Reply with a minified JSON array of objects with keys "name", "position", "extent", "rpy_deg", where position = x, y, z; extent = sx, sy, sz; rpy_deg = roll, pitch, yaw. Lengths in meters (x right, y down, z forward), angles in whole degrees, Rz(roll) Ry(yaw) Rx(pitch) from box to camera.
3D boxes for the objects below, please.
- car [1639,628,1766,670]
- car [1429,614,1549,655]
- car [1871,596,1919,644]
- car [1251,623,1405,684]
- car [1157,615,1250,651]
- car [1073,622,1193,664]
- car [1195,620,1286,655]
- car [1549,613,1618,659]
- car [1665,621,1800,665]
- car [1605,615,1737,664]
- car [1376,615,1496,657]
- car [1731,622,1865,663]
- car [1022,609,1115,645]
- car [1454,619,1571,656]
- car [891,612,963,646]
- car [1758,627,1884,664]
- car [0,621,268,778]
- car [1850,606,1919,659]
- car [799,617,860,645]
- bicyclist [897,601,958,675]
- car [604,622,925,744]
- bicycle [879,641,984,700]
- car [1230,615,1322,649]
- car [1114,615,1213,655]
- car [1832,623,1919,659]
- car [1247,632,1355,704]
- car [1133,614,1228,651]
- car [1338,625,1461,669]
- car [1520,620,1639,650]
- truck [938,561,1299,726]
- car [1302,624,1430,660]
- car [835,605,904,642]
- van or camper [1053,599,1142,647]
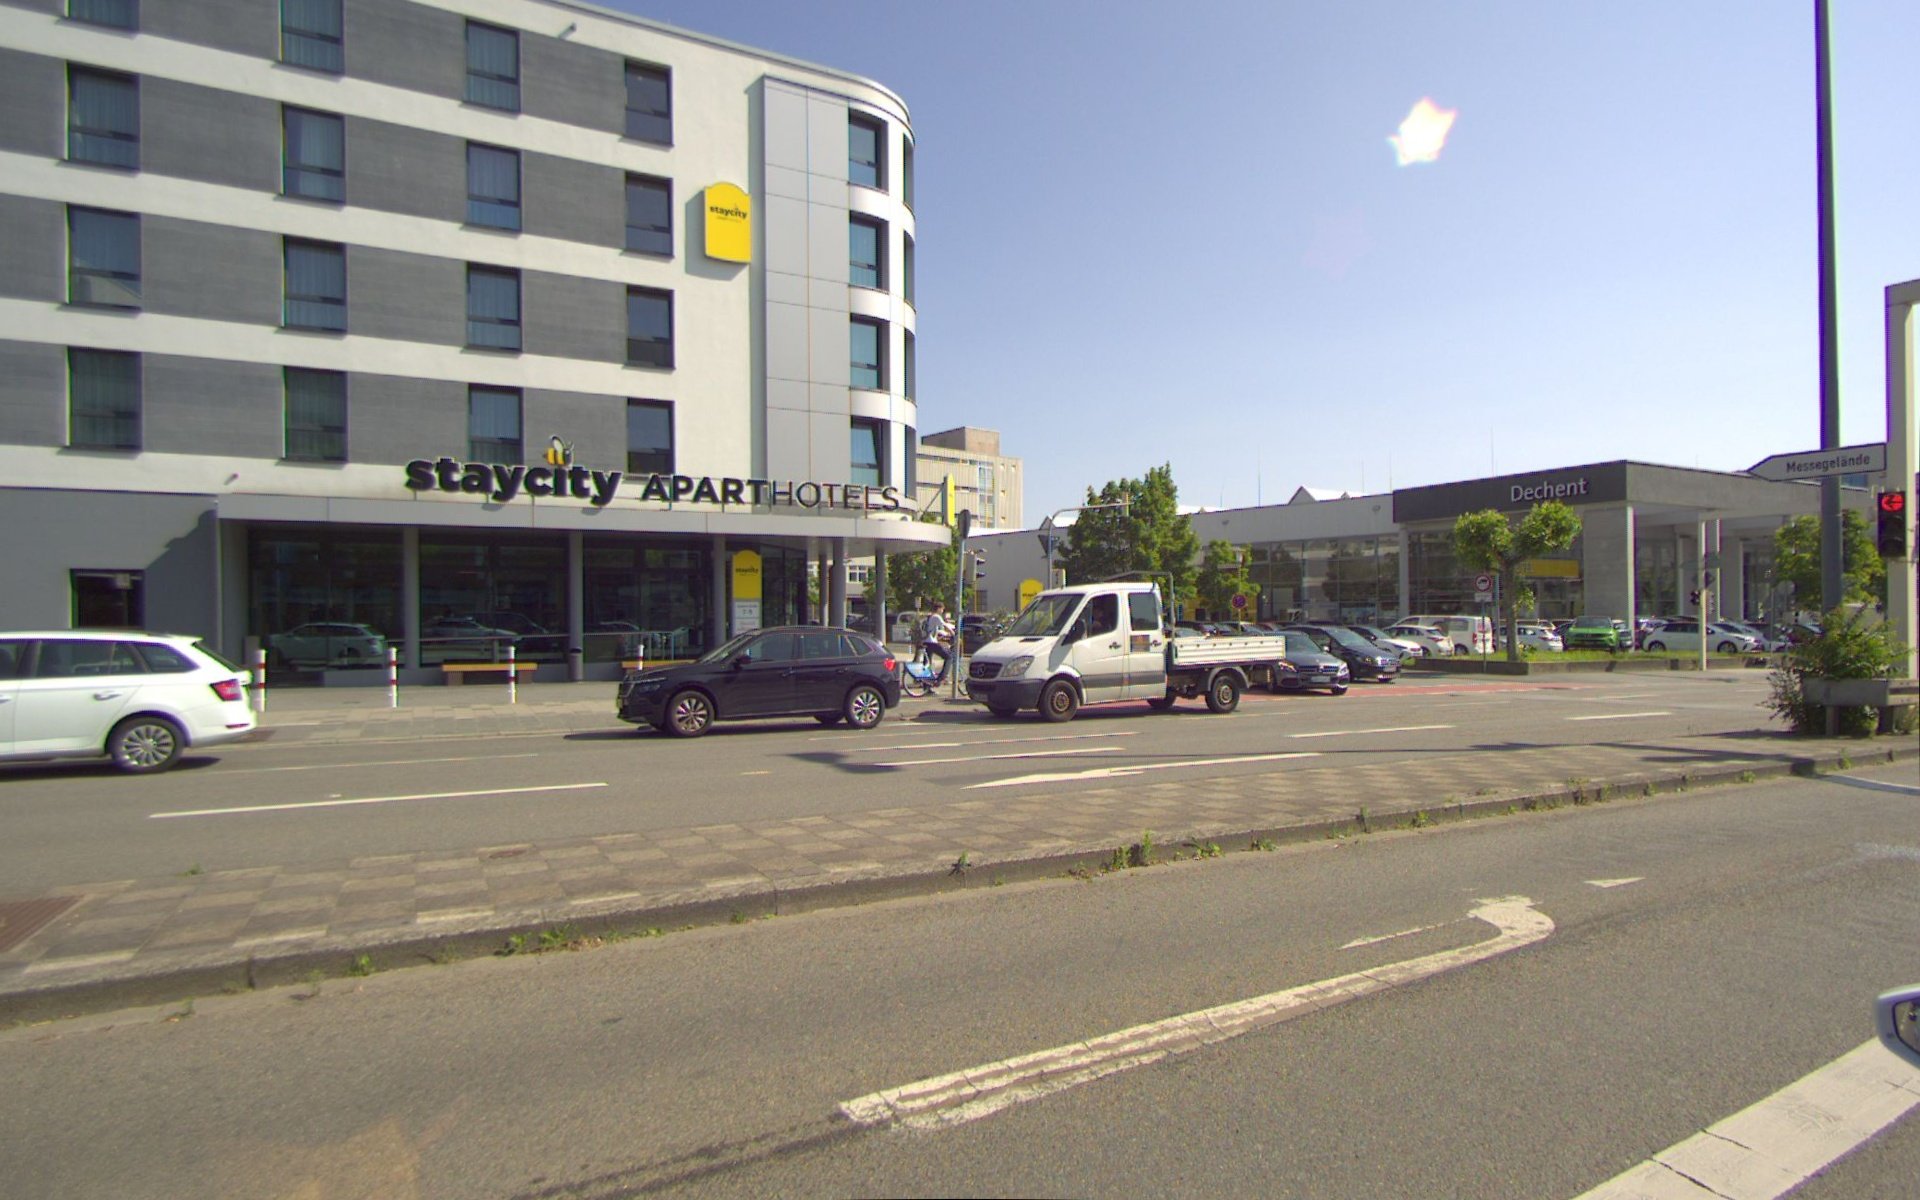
[{"name":"car","position":[31.403,2.038,42.592],"extent":[1.981,1.620,3.959],"rpy_deg":[1,-1,-36]},{"name":"car","position":[23.399,1.510,44.545],"extent":[1.982,1.719,4.323],"rpy_deg":[1,-1,-38]},{"name":"car","position":[54.107,1.118,56.136],"extent":[1.972,2.635,4.345],"rpy_deg":[1,-1,-24]},{"name":"car","position":[10.847,1.521,29.873],"extent":[1.869,1.639,4.103],"rpy_deg":[1,-1,-29]},{"name":"car","position":[12.209,1.641,50.581],"extent":[1.980,1.719,4.328],"rpy_deg":[1,-1,-35]},{"name":"car","position":[6.406,1.560,37.436],"extent":[3.943,1.349,1.989],"rpy_deg":[2,0,43]},{"name":"car","position":[14.493,1.934,52.129],"extent":[1.980,1.719,4.328],"rpy_deg":[1,-1,-35]},{"name":"car","position":[24.839,1.456,40.147],"extent":[1.870,1.756,3.293],"rpy_deg":[0,-2,23]},{"name":"car","position":[33.618,1.820,43.811],"extent":[1.978,1.789,4.274],"rpy_deg":[1,-1,-32]},{"name":"car","position":[28.196,1.531,39.916],"extent":[1.978,1.862,3.849],"rpy_deg":[1,-1,-32]},{"name":"car","position":[20.706,1.540,43.801],"extent":[1.982,1.719,4.323],"rpy_deg":[1,-1,-38]},{"name":"car","position":[38.293,1.894,46.004],"extent":[1.978,1.719,4.333],"rpy_deg":[1,-1,-32]},{"name":"car","position":[5.428,1.336,50.708],"extent":[4.304,1.719,1.991],"rpy_deg":[0,-1,40]},{"name":"car","position":[25.407,1.695,46.309],"extent":[1.982,1.612,4.325],"rpy_deg":[1,-1,-37]},{"name":"car","position":[-2.005,1.689,59.981],"extent":[1.970,1.815,4.377],"rpy_deg":[2,0,-42]},{"name":"car","position":[42.403,2.190,49.559],"extent":[1.978,1.719,4.333],"rpy_deg":[1,-1,-32]},{"name":"car","position":[-9.863,1.013,10.422],"extent":[4.370,1.505,1.981],"rpy_deg":[2,-4,-36]},{"name":"car","position":[49.990,1.716,52.682],"extent":[2.096,2.720,4.490],"rpy_deg":[1,-1,-21]},{"name":"car","position":[-7.135,1.667,54.697],"extent":[1.760,1.457,3.878],"rpy_deg":[1,-1,-34]},{"name":"bicyclist","position":[-0.667,0.768,20.647],"extent":[1.019,1.479,0.761],"rpy_deg":[1,-1,-40]},{"name":"car","position":[-2.906,1.166,15.142],"extent":[4.360,1.598,1.985],"rpy_deg":[1,-2,-30]},{"name":"bicycle","position":[-0.563,1.423,20.714],"extent":[2.143,1.131,0.762],"rpy_deg":[1,-1,-39]},{"name":"car","position":[16.678,1.685,53.137],"extent":[1.982,1.719,4.324],"rpy_deg":[1,-1,-37]},{"name":"car","position":[9.334,1.583,46.282],"extent":[1.980,1.719,4.328],"rpy_deg":[1,-1,-35]},{"name":"car","position":[47.881,2.080,51.521],"extent":[1.971,1.719,4.348],"rpy_deg":[1,-1,-22]},{"name":"car","position":[8.297,1.610,24.779],"extent":[1.866,1.378,4.002],"rpy_deg":[3,1,10]},{"name":"car","position":[10.678,1.559,48.864],"extent":[1.980,1.719,4.328],"rpy_deg":[1,-1,-35]},{"name":"car","position":[18.243,1.910,41.860],"extent":[1.980,1.719,4.328],"rpy_deg":[1,-1,-35]},{"name":"car","position":[28.722,1.656,46.690],"extent":[1.982,1.284,4.325],"rpy_deg":[3,-4,-37]},{"name":"truck","position":[2.962,0.750,18.260],"extent":[6.355,2.579,2.348],"rpy_deg":[1,-1,-28]},{"name":"car","position":[15.923,1.602,39.568],"extent":[1.980,1.317,4.328],"rpy_deg":[1,-1,-35]},{"name":"car","position":[-5.800,1.474,63.964],"extent":[1.985,2.158,4.565],"rpy_deg":[2,0,-42]},{"name":"van or camper","position":[7.270,1.227,53.456],"extent":[1.983,2.432,4.678],"rpy_deg":[1,-1,-38]}]
